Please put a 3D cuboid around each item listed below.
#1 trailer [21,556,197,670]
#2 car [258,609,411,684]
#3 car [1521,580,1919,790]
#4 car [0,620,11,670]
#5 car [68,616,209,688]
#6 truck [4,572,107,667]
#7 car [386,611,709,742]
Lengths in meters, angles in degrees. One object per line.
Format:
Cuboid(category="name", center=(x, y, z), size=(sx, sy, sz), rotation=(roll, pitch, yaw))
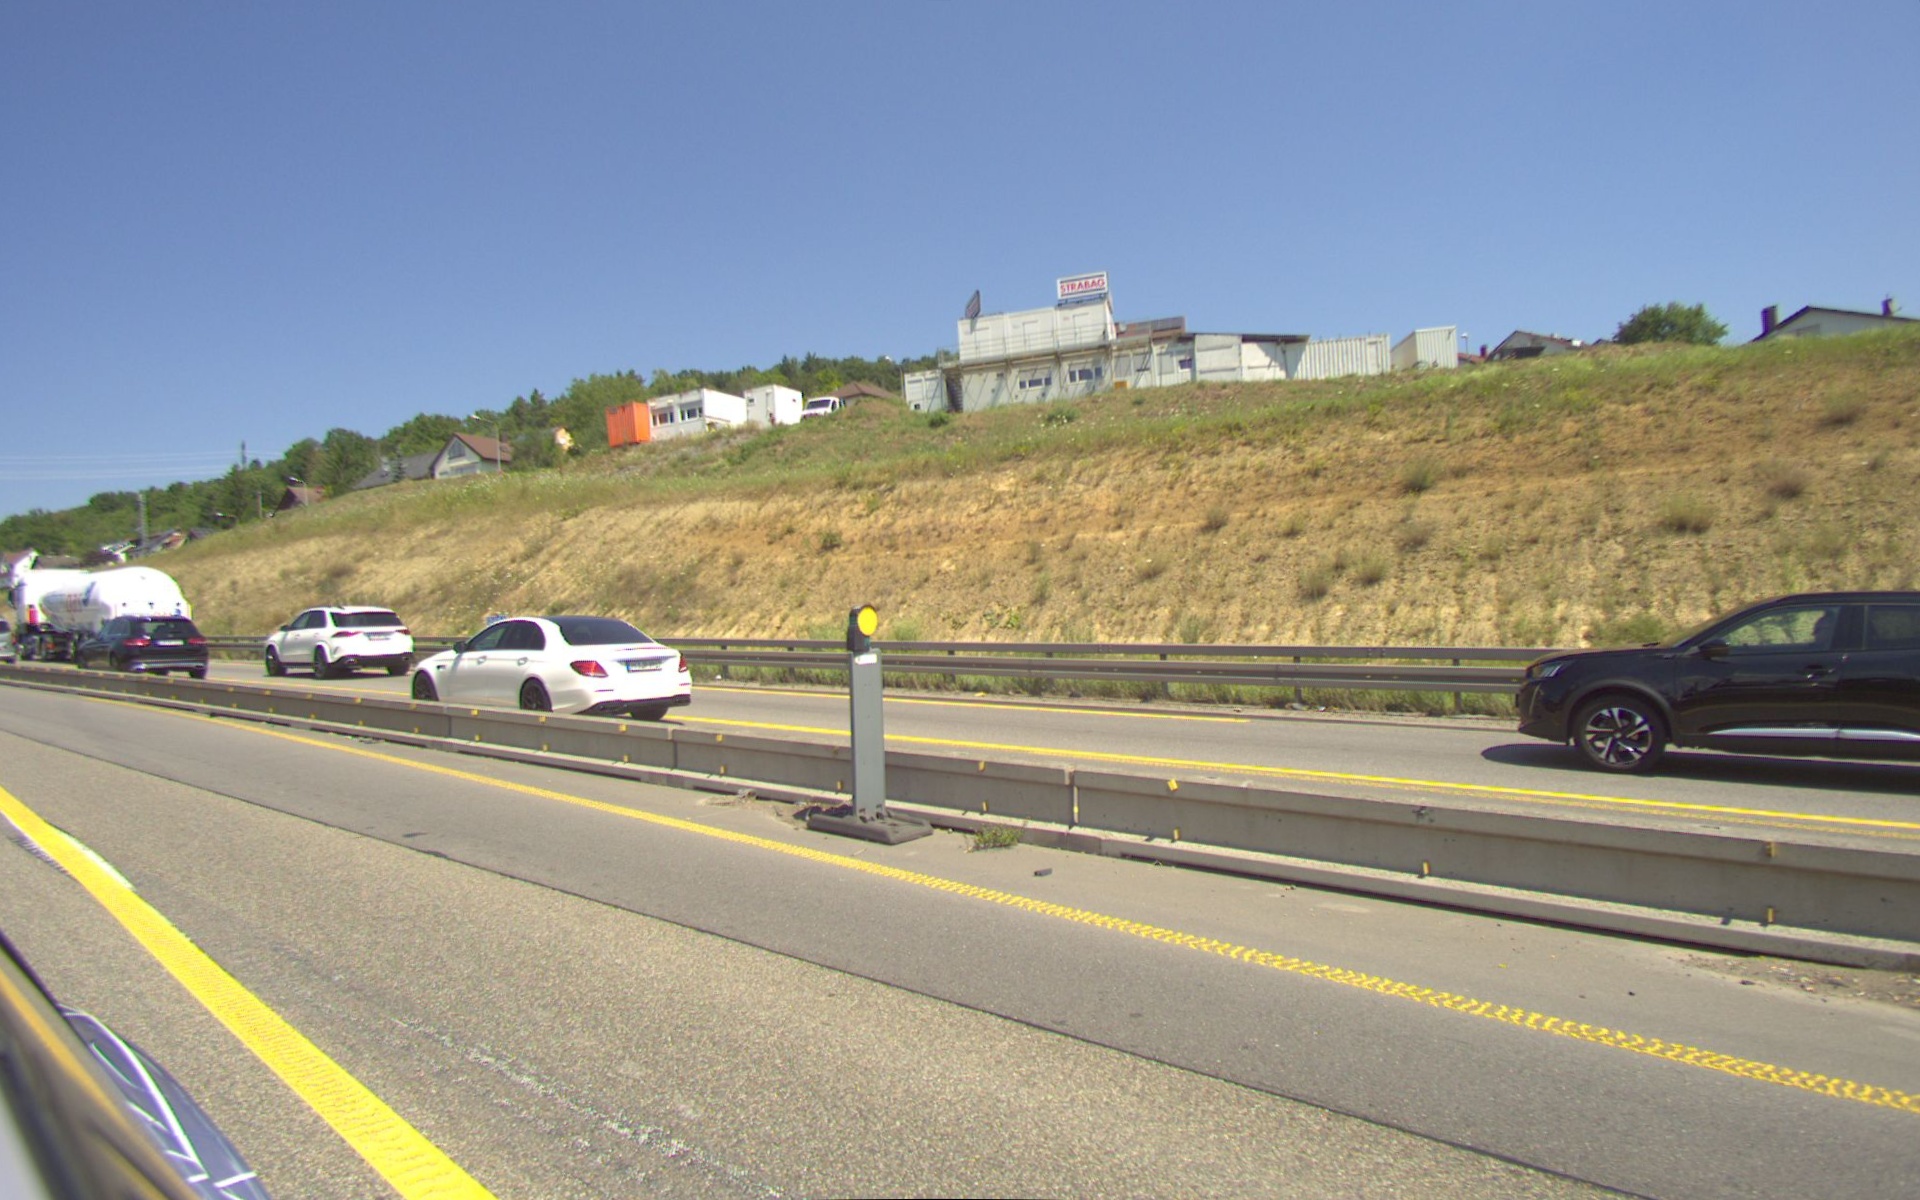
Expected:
Cuboid(category="trailer", center=(-32.757, 0.597, 38.693), size=(11.897, 3.830, 2.566), rotation=(-2, -1, 37))
Cuboid(category="car", center=(-16.076, 1.171, 25.923), size=(4.528, 1.776, 1.775), rotation=(-2, -2, 36))
Cuboid(category="car", center=(7.102, 0.632, 8.436), size=(3.995, 1.543, 1.677), rotation=(-2, -1, 39))
Cuboid(category="car", center=(-36.507, 1.667, 37.087), size=(4.476, 1.758, 1.862), rotation=(-2, -2, 38))
Cuboid(category="car", center=(-20.998, 1.292, 25.809), size=(4.726, 1.624, 1.774), rotation=(-2, -1, 38))
Cuboid(category="truck", center=(-38.359, 0.825, 42.923), size=(3.760, 3.830, 2.566), rotation=(-2, -1, 37))
Cuboid(category="car", center=(-5.834, 0.967, 14.019), size=(4.933, 1.475, 1.943), rotation=(-2, -1, 38))
